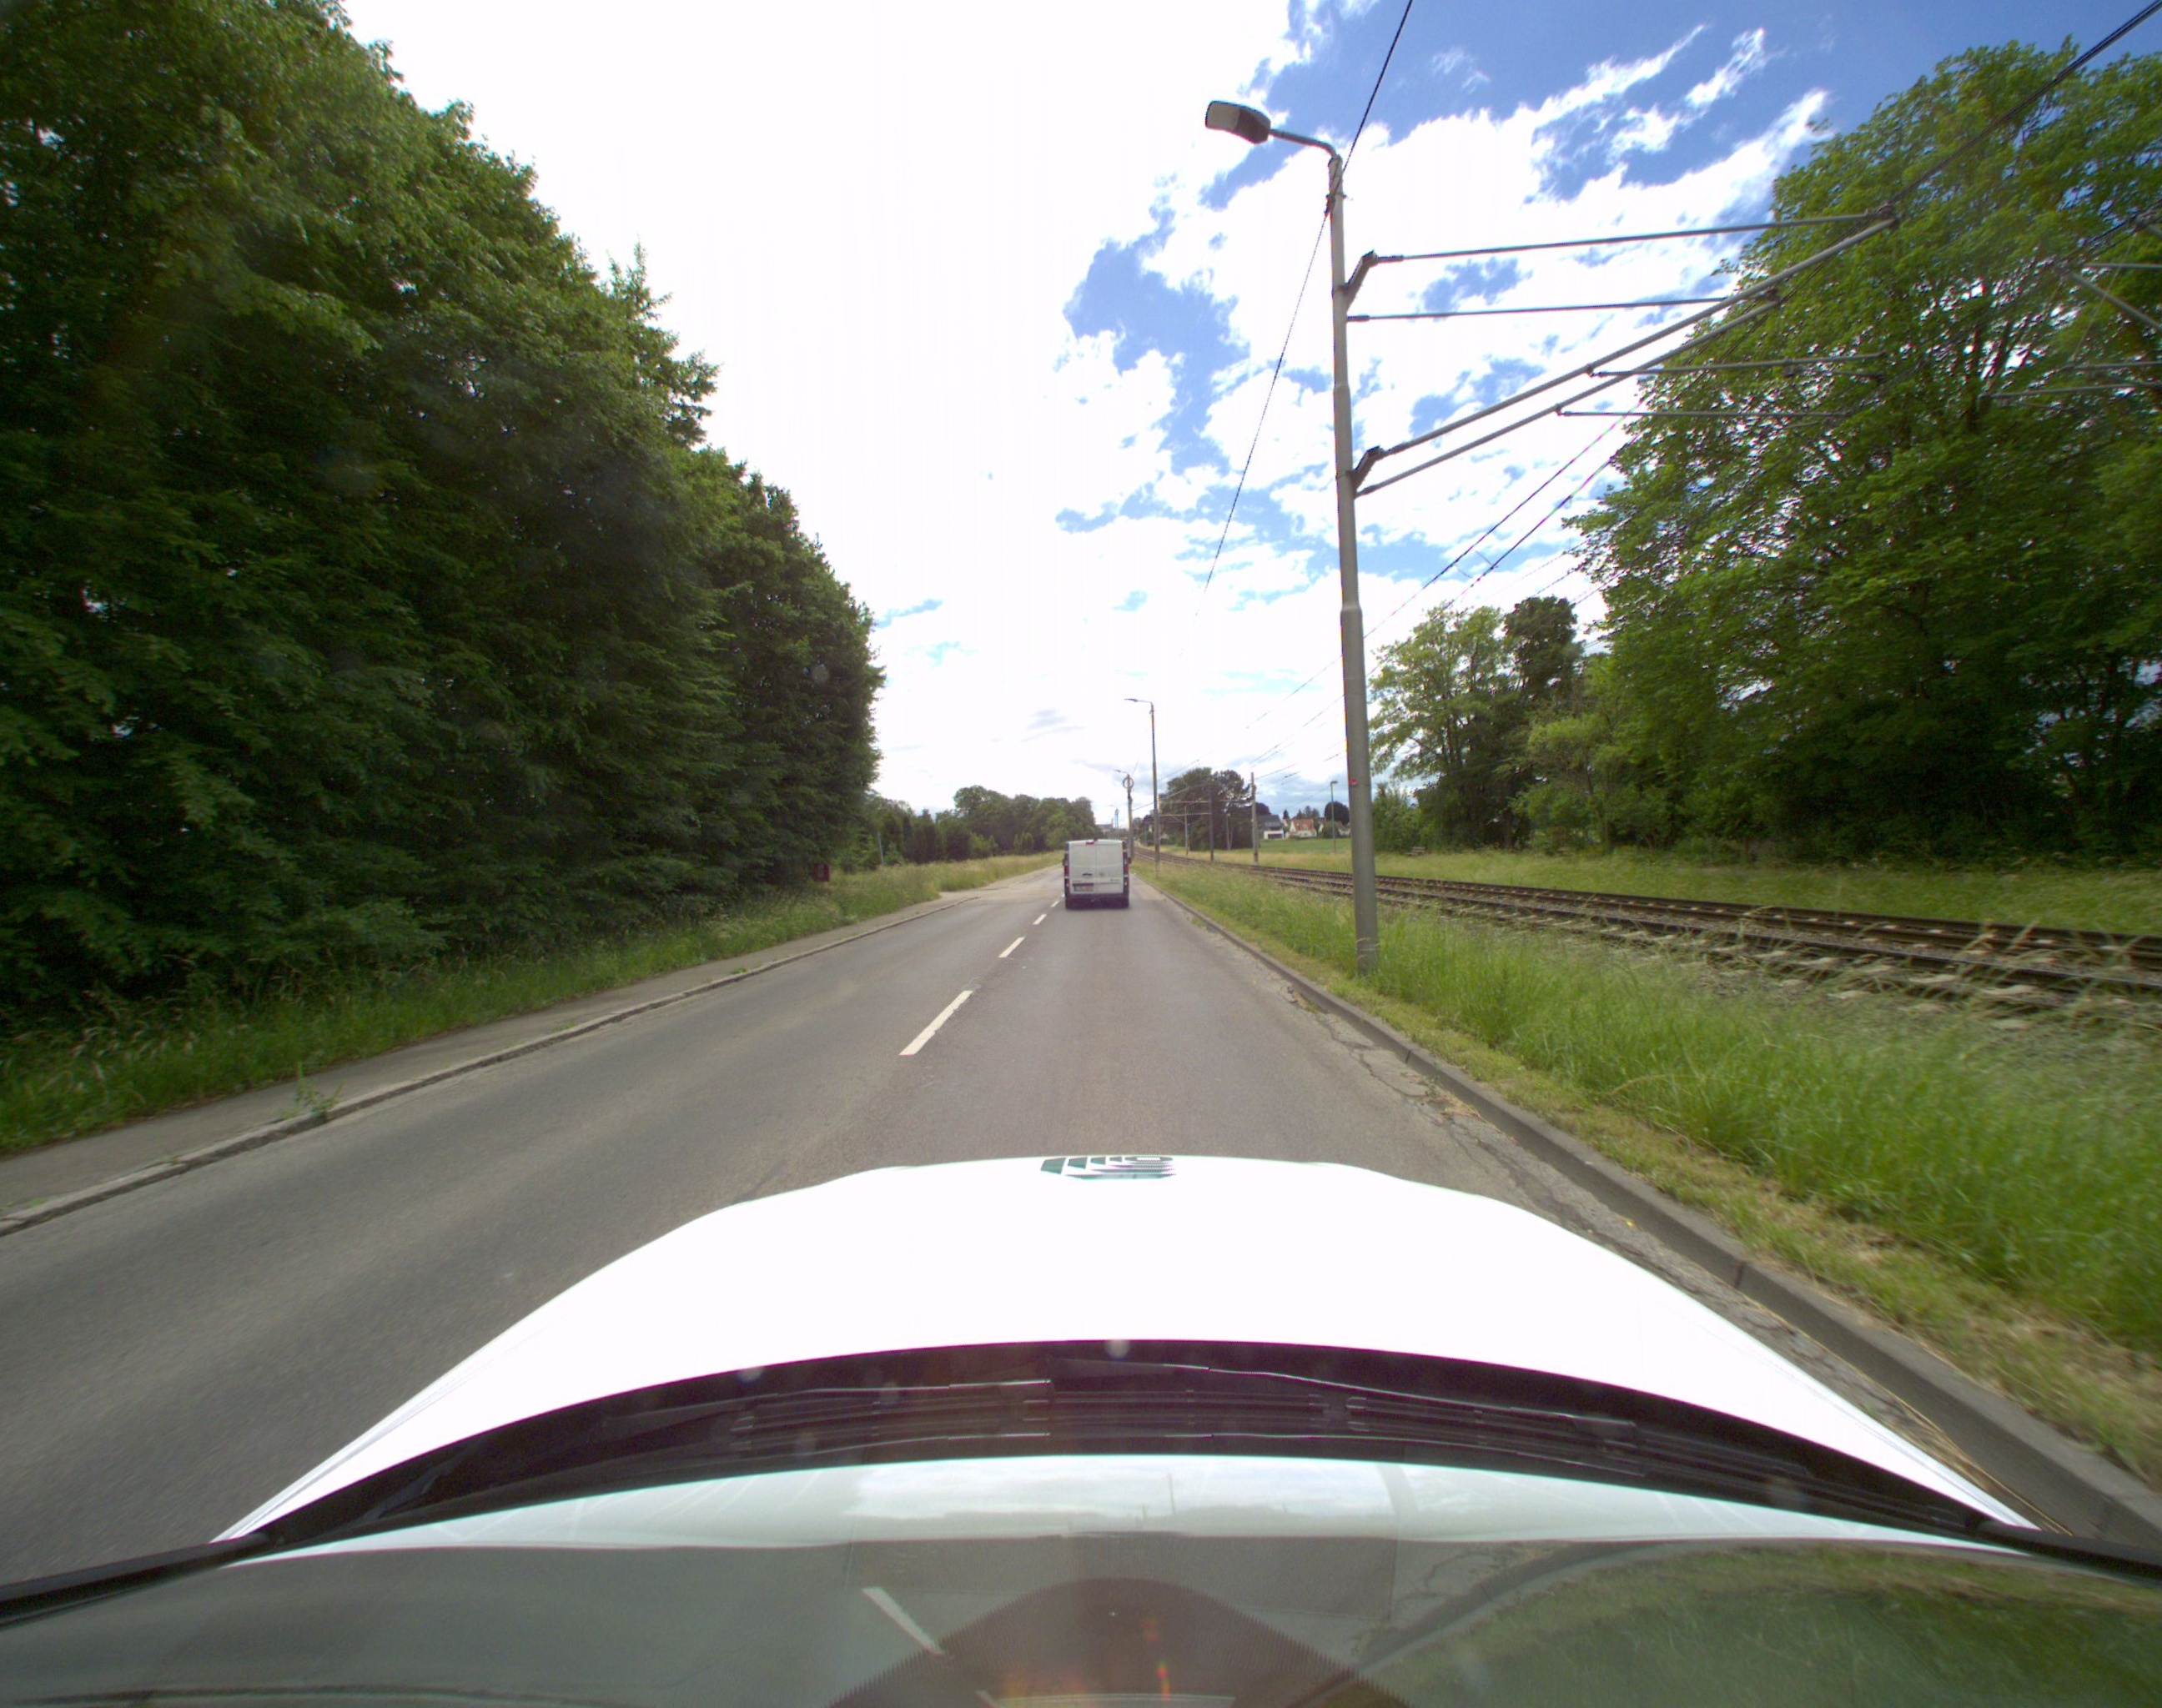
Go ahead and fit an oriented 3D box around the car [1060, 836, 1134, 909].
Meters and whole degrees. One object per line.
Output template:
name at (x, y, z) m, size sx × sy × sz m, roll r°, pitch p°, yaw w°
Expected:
car at (0.462, 0.488, 24.569) m, size 1.987 × 1.957 × 4.000 m, roll -2°, pitch 0°, yaw 0°
